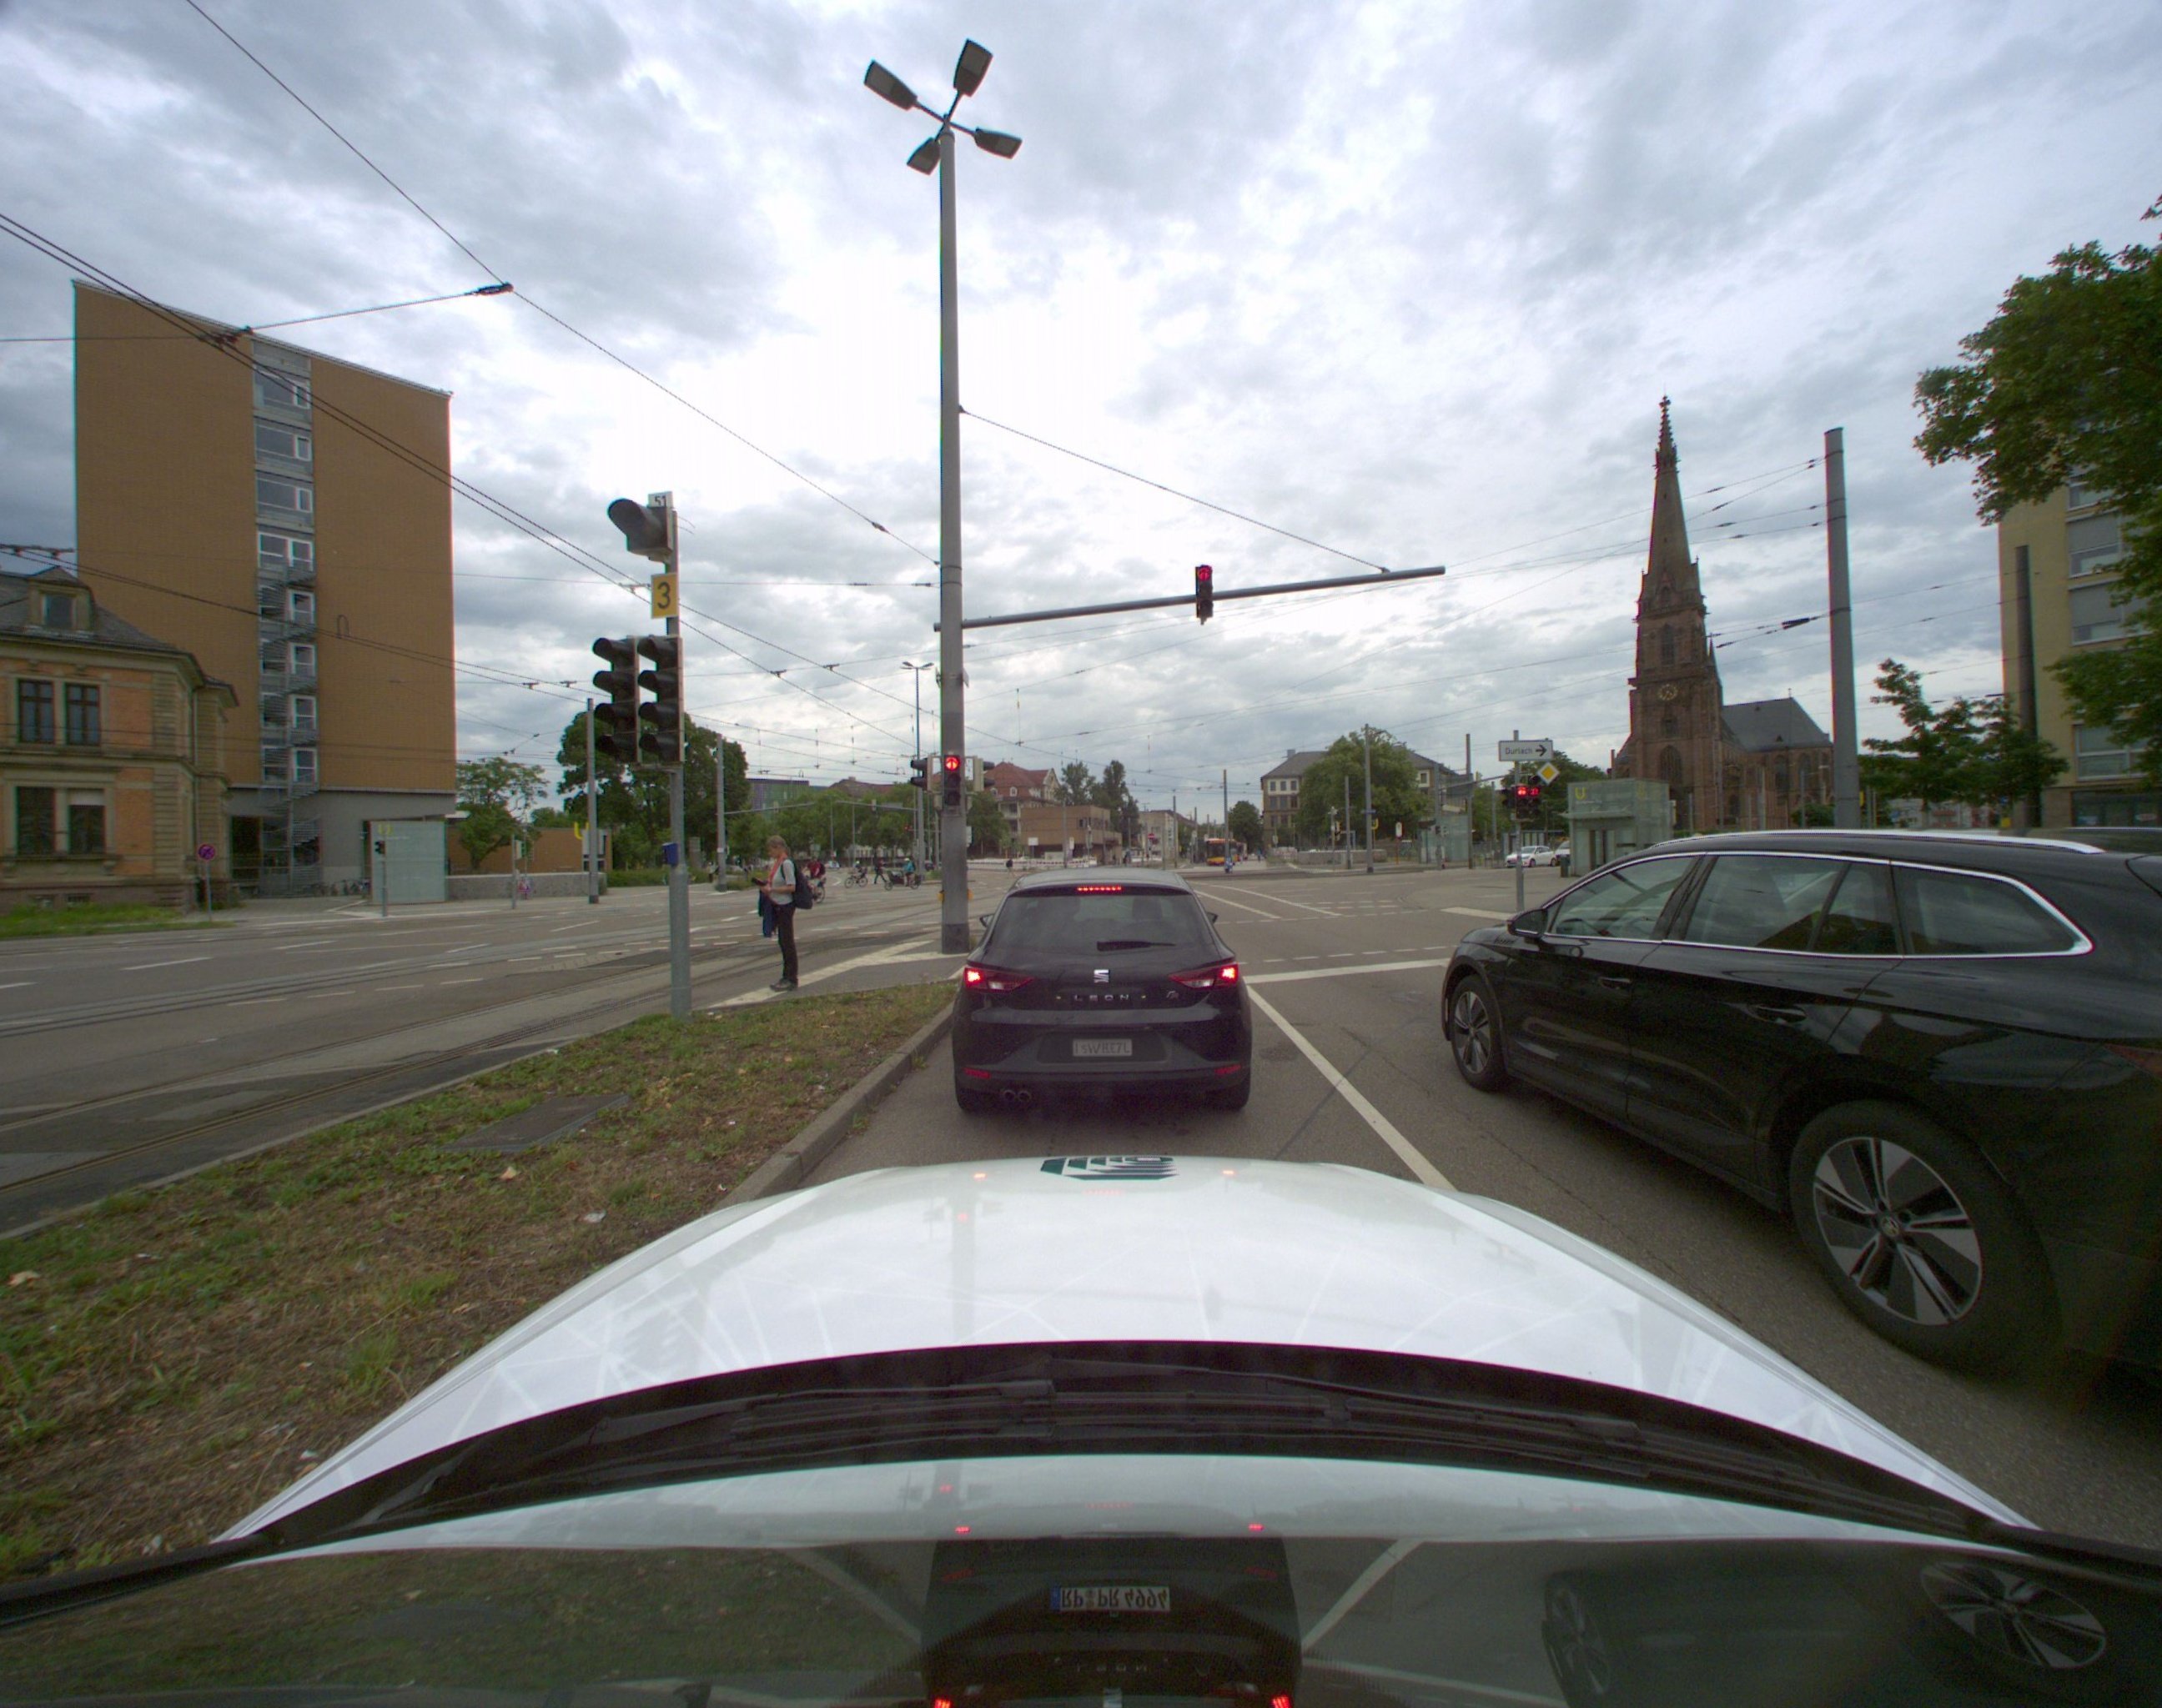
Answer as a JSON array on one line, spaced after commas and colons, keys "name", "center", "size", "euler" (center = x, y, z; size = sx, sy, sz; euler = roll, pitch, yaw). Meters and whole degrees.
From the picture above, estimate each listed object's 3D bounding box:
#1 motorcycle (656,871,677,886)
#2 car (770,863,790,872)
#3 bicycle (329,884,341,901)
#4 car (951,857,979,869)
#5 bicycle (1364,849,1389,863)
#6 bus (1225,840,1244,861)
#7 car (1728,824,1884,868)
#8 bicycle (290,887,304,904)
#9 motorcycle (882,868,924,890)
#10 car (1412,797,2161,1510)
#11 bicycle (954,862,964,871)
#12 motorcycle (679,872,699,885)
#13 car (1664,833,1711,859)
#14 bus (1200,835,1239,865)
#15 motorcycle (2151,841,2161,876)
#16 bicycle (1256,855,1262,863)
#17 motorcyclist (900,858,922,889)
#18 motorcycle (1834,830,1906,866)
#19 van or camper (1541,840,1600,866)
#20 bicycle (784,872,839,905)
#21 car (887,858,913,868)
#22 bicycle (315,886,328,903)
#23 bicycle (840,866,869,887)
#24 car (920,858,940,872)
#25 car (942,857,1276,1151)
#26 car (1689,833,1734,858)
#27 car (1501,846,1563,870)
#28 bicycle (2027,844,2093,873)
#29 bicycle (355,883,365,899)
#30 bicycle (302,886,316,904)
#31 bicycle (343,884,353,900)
[{"name": "motorcycle", "center": [-35.443, 2.077, 69.598], "size": [1.481, 1.268, 0.505], "euler": [-1, 0, -44]}, {"name": "car", "center": [-53.596, 2.385, 144.980], "size": [1.792, 1.464, 3.950], "euler": [-1, 0, -45]}, {"name": "bicycle", "center": [-51.155, 2.627, 55.838], "size": [0.575, 1.106, 1.411], "euler": [-1, 0, -41]}, {"name": "car", "center": [-17.602, 1.355, 123.655], "size": [3.970, 1.684, 2.001], "euler": [-2, -1, 3]}, {"name": "bicycle", "center": [29.661, 0.184, 81.718], "size": [2.248, 1.331, 0.709], "euler": [-2, -2, 9]}, {"name": "bus", "center": [25.741, -0.593, 136.276], "size": [2.635, 3.283, 11.034], "euler": [-2, 0, 13]}, {"name": "car", "center": [37.658, -0.389, 42.508], "size": [5.672, 2.014, 2.038], "euler": [-2, -2, 19]}, {"name": "bicycle", "center": [-52.536, 2.780, 54.551], "size": [0.575, 1.106, 1.411], "euler": [-1, 0, -41]}, {"name": "motorcycle", "center": [-9.861, 1.382, 45.063], "size": [2.149, 1.139, 0.737], "euler": [-1, 0, -31]}, {"name": "car", "center": [3.320, 0.654, 3.764], "size": [1.771, 1.597, 4.510], "euler": [-1, 0, 1]}, {"name": "bicycle", "center": [-16.434, 1.625, 109.709], "size": [0.895, 1.178, 2.287], "euler": [-1, 0, -20]}, {"name": "motorcycle", "center": [-34.415, 2.161, 71.503], "size": [0.506, 1.111, 1.751], "euler": [-2, 0, 15]}, {"name": "car", "center": [49.709, -0.630, 66.743], "size": [4.017, 2.013, 1.978], "euler": [-1, 0, -36]}, {"name": "bus", "center": [15.970, -0.431, 93.267], "size": [2.938, 3.123, 11.589], "euler": [-2, 0, 16]}, {"name": "motorcycle", "center": [31.953, 0.124, 23.708], "size": [1.021, 0.997, 0.863], "euler": [-1, 0, -44]}, {"name": "bicycle", "center": [26.225, 0.744, 119.826], "size": [0.859, 1.104, 2.311], "euler": [-1, 0, 14]}, {"name": "motorcyclist", "center": [-9.481, 1.082, 45.314], "size": [0.984, 1.649, 0.742], "euler": [-1, -1, -31]}, {"name": "motorcycle", "center": [26.950, -0.208, 27.803], "size": [2.386, 1.168, 0.762], "euler": [-1, 0, -19]}, {"name": "van or camper", "center": [35.275, -0.086, 58.671], "size": [4.321, 1.742, 1.979], "euler": [-1, -2, -34]}, {"name": "bicycle", "center": [-10.556, 1.348, 32.008], "size": [0.767, 1.184, 2.045], "euler": [-2, 0, 30]}, {"name": "car", "center": [-31.284, 1.539, 140.690], "size": [3.976, 1.464, 1.781], "euler": [-1, 0, -2]}, {"name": "bicycle", "center": [-51.640, 2.767, 55.361], "size": [0.575, 1.106, 1.411], "euler": [-1, 0, -41]}, {"name": "bicycle", "center": [-15.285, 1.517, 55.069], "size": [1.743, 1.321, 0.638], "euler": [-1, 0, -36]}, {"name": "car", "center": [-19.563, 1.376, 105.419], "size": [2.000, 1.684, 3.973], "euler": [-1, -1, -20]}, {"name": "car", "center": [0.087, 0.774, 6.102], "size": [1.700, 1.449, 3.809], "euler": [-1, 0, -2]}, {"name": "car", "center": [53.572, -0.722, 69.180], "size": [4.017, 2.013, 1.978], "euler": [-1, 0, -36]}, {"name": "car", "center": [30.381, 0.273, 54.840], "size": [4.011, 1.464, 1.758], "euler": [-1, -2, -30]}, {"name": "bicycle", "center": [31.505, 0.144, 26.222], "size": [0.596, 0.917, 1.253], "euler": [-1, 0, -28]}, {"name": "bicycle", "center": [-50.238, 2.588, 56.721], "size": [0.484, 1.049, 1.411], "euler": [-1, 0, -41]}, {"name": "bicycle", "center": [-52.086, 2.766, 54.956], "size": [0.575, 1.106, 1.411], "euler": [-1, 0, -41]}, {"name": "bicycle", "center": [-50.652, 2.618, 56.282], "size": [0.512, 1.049, 1.411], "euler": [-1, 0, -41]}]
